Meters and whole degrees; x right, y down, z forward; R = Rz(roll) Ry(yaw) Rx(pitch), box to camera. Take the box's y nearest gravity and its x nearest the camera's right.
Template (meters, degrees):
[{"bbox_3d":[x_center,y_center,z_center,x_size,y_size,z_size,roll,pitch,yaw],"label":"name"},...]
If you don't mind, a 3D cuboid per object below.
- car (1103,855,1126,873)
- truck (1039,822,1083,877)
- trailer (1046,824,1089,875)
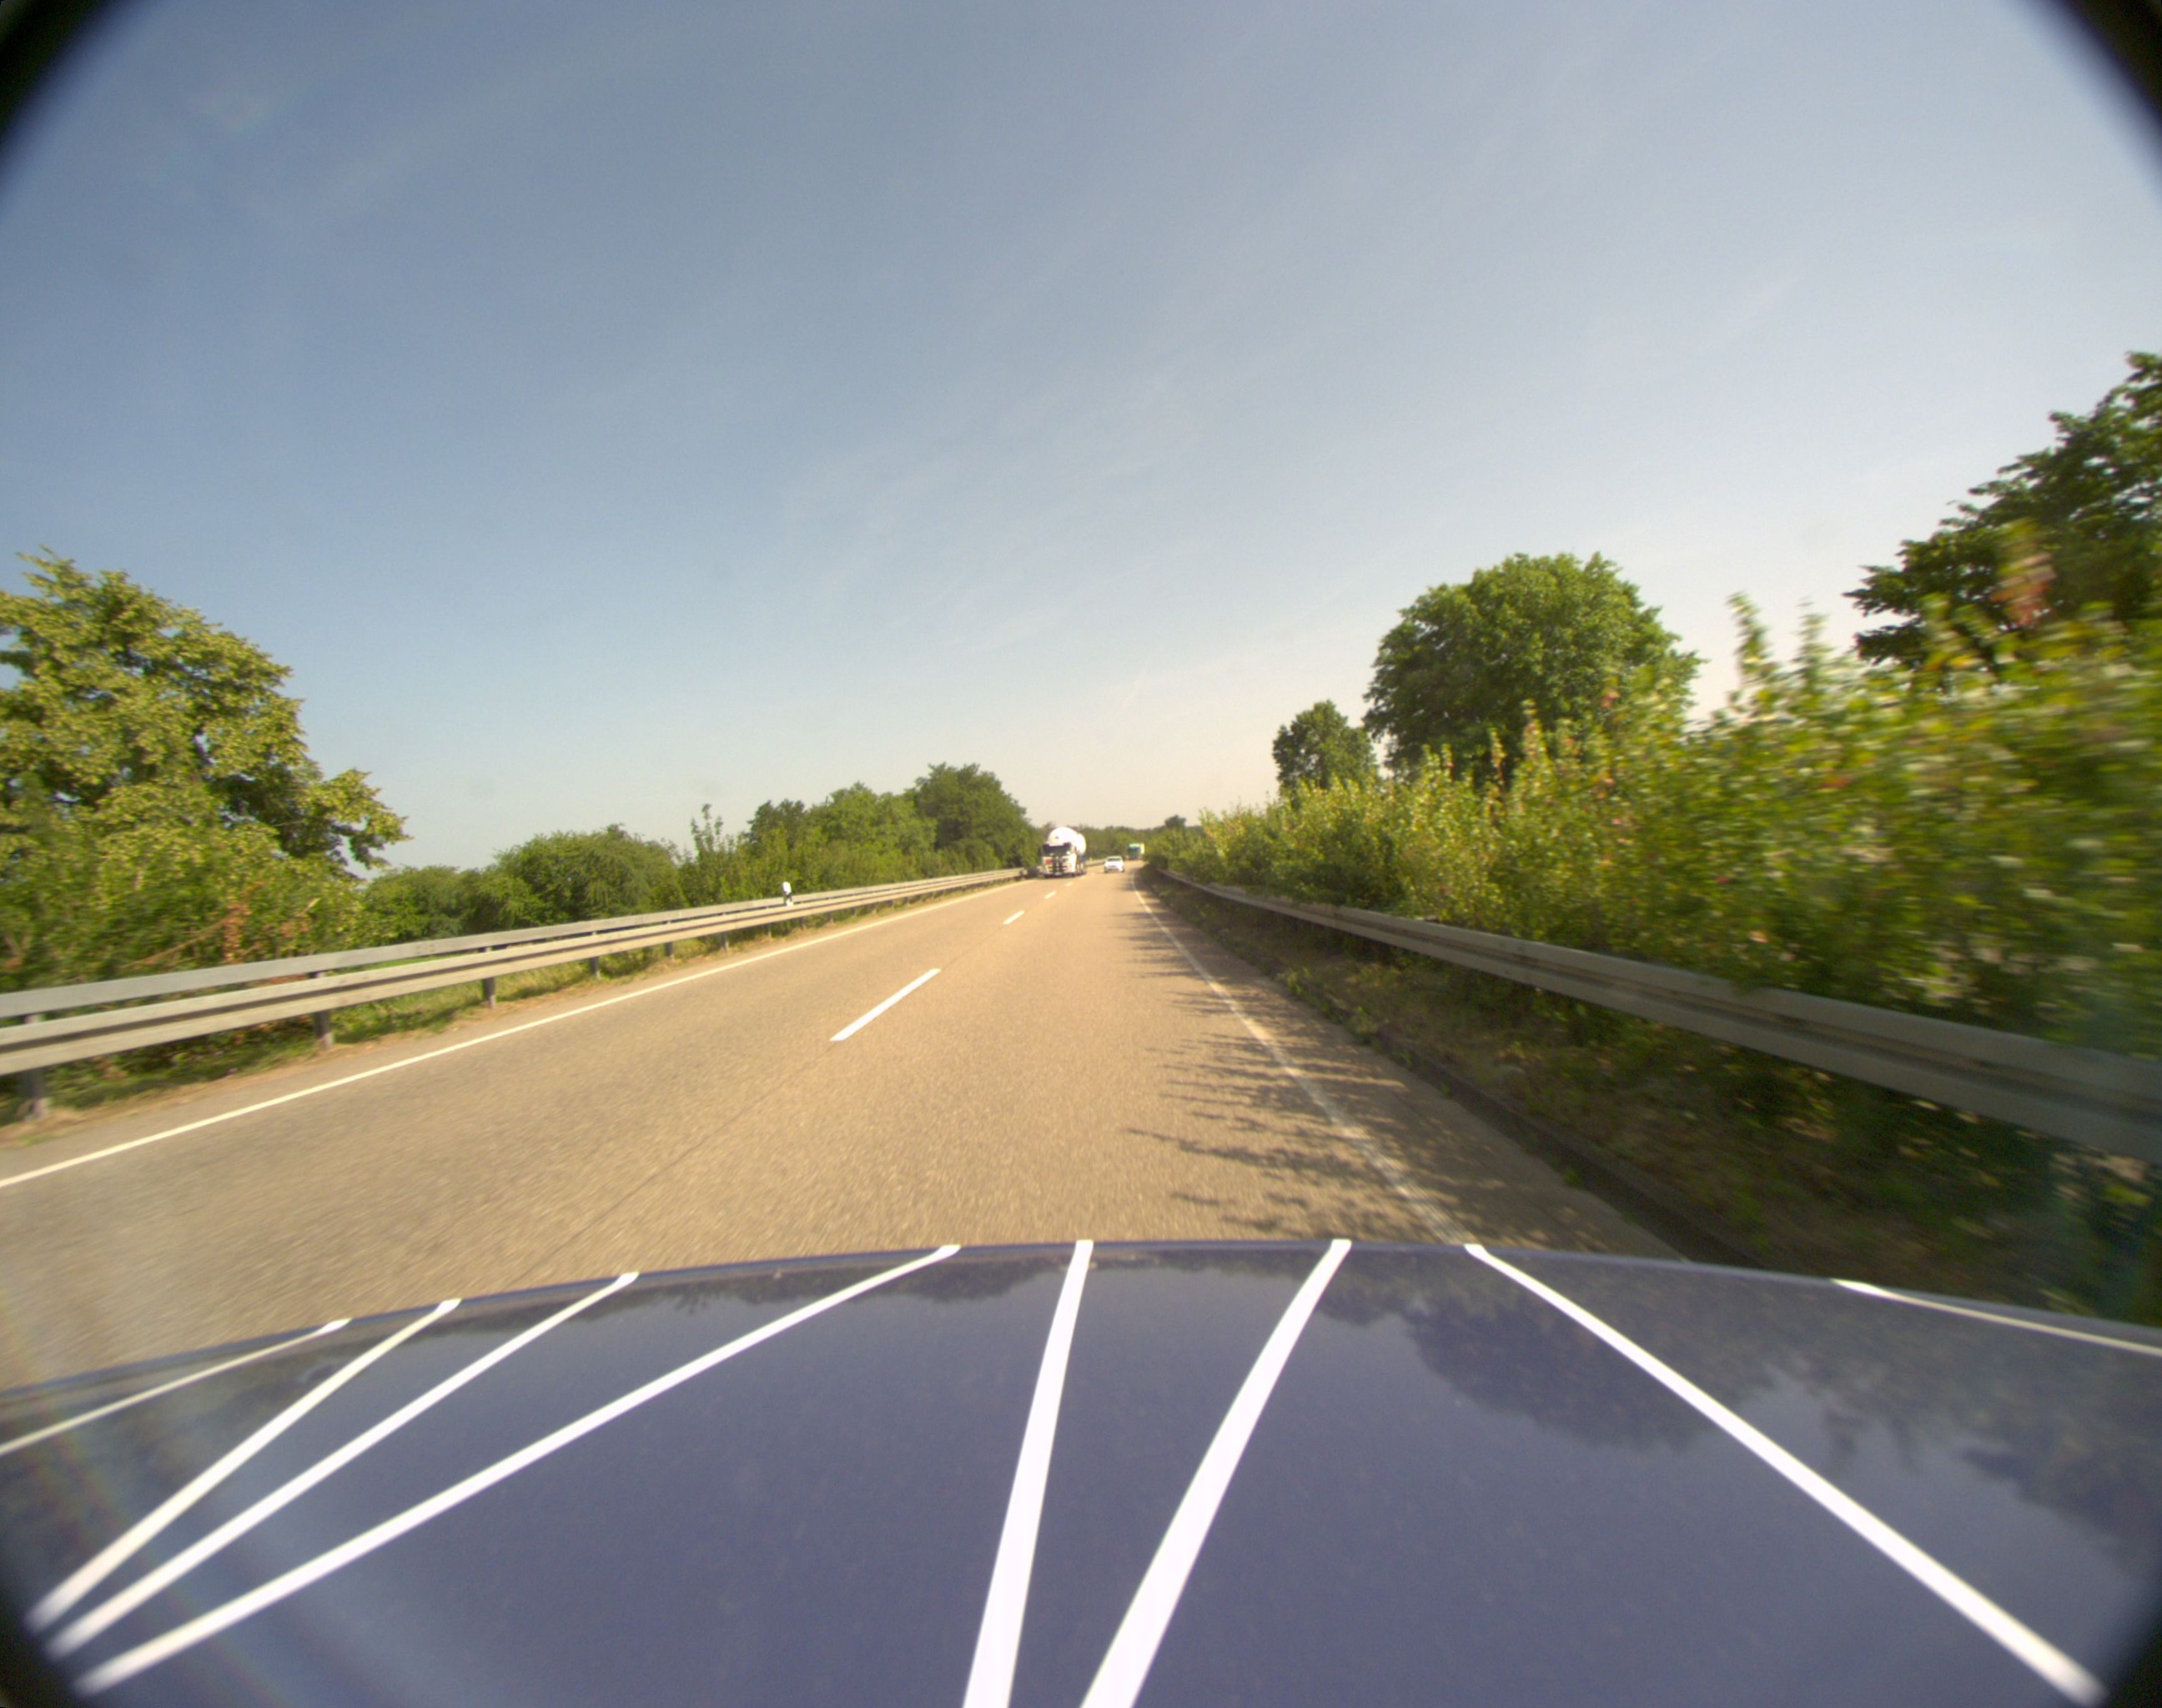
[{"bbox_3d":[3.042,0.912,69.297,1.788,1.427,4.001,-3,1,6],"label":"car"},{"bbox_3d":[-1.483,-0.389,59.235,2.778,3.939,5.628,-2,1,4],"label":"truck"},{"bbox_3d":[-1.067,-0.439,64.751,2.763,3.968,8.187,-2,1,4],"label":"trailer"}]
